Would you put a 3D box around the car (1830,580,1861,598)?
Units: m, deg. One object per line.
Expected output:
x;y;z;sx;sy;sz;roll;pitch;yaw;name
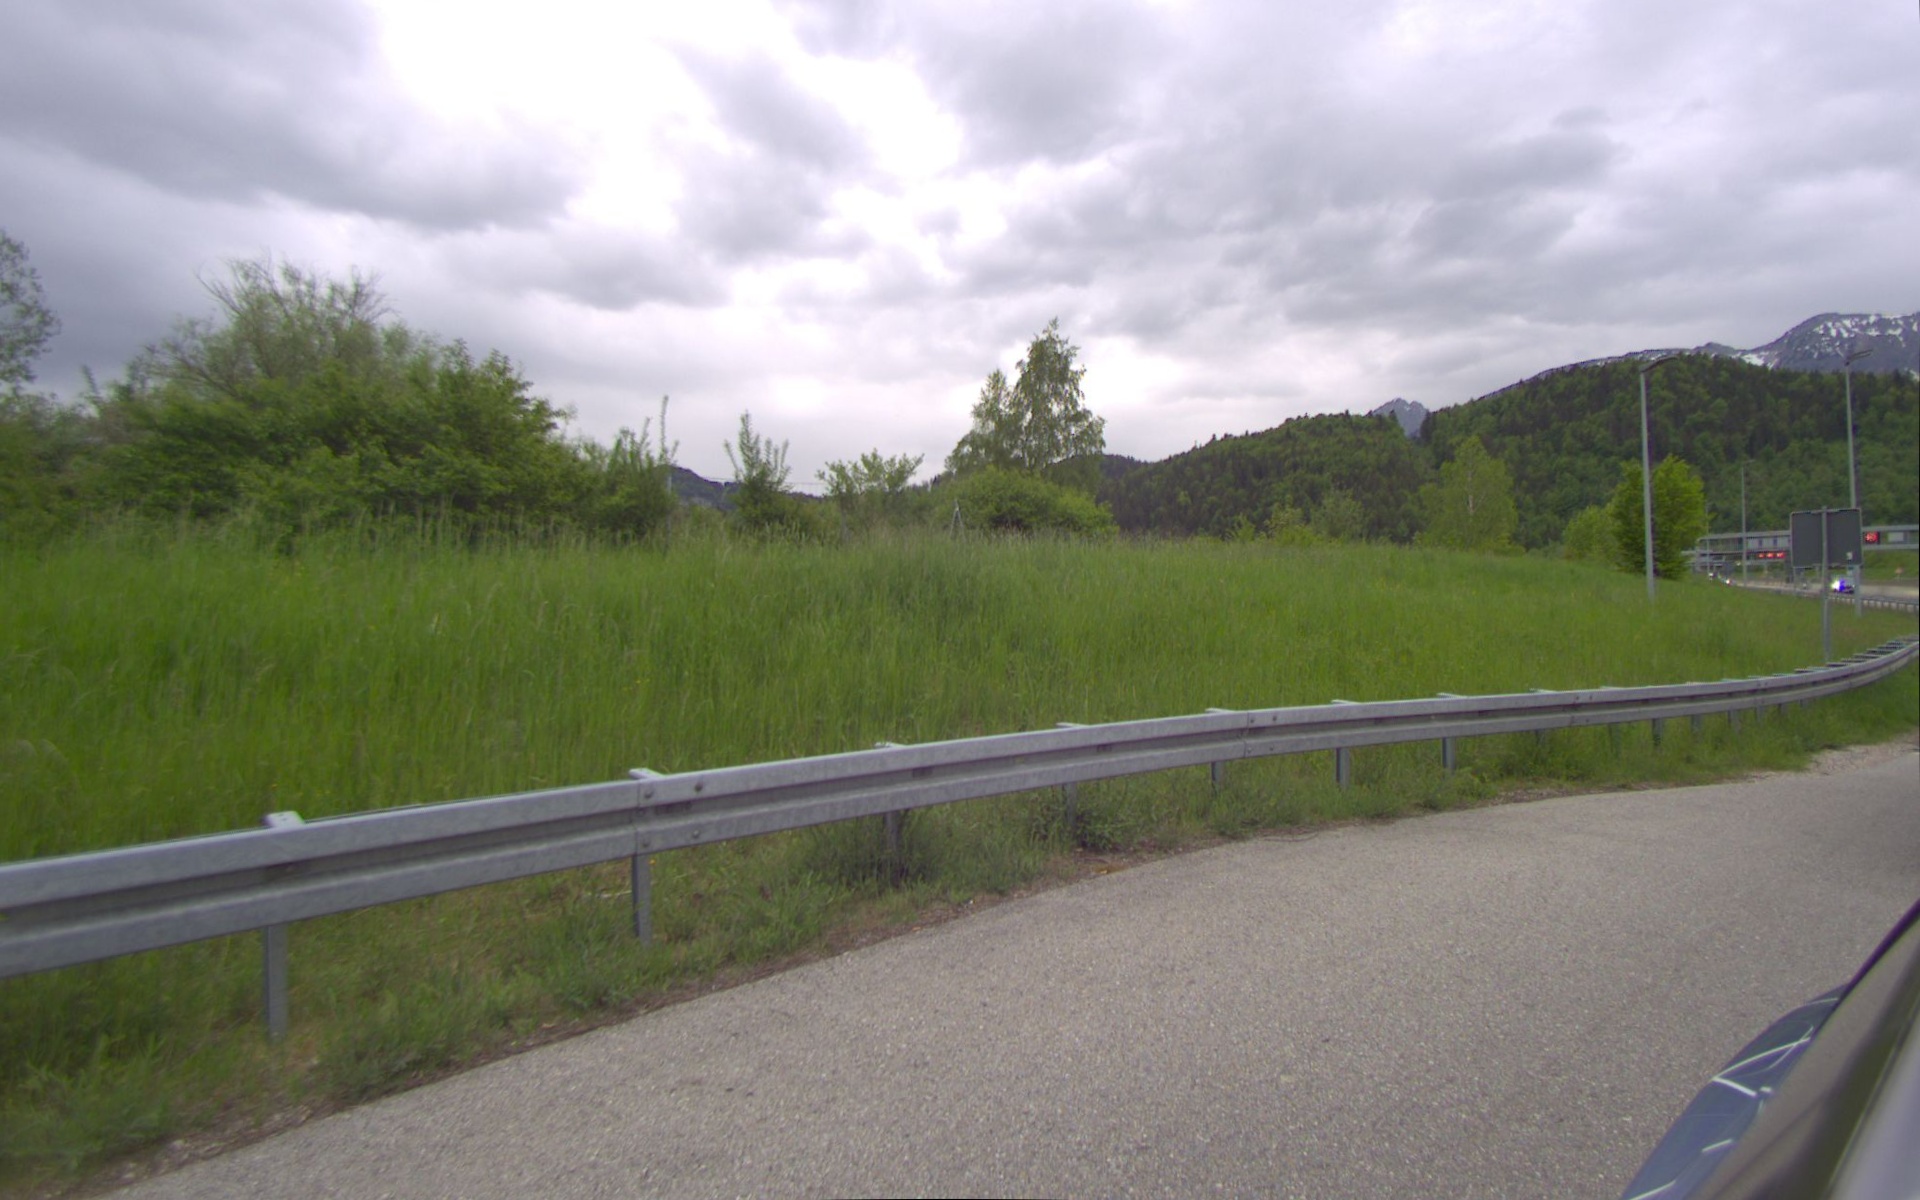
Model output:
84.911;-1.101;97.084;1.710;1.659;4.294;1;2;35;car
